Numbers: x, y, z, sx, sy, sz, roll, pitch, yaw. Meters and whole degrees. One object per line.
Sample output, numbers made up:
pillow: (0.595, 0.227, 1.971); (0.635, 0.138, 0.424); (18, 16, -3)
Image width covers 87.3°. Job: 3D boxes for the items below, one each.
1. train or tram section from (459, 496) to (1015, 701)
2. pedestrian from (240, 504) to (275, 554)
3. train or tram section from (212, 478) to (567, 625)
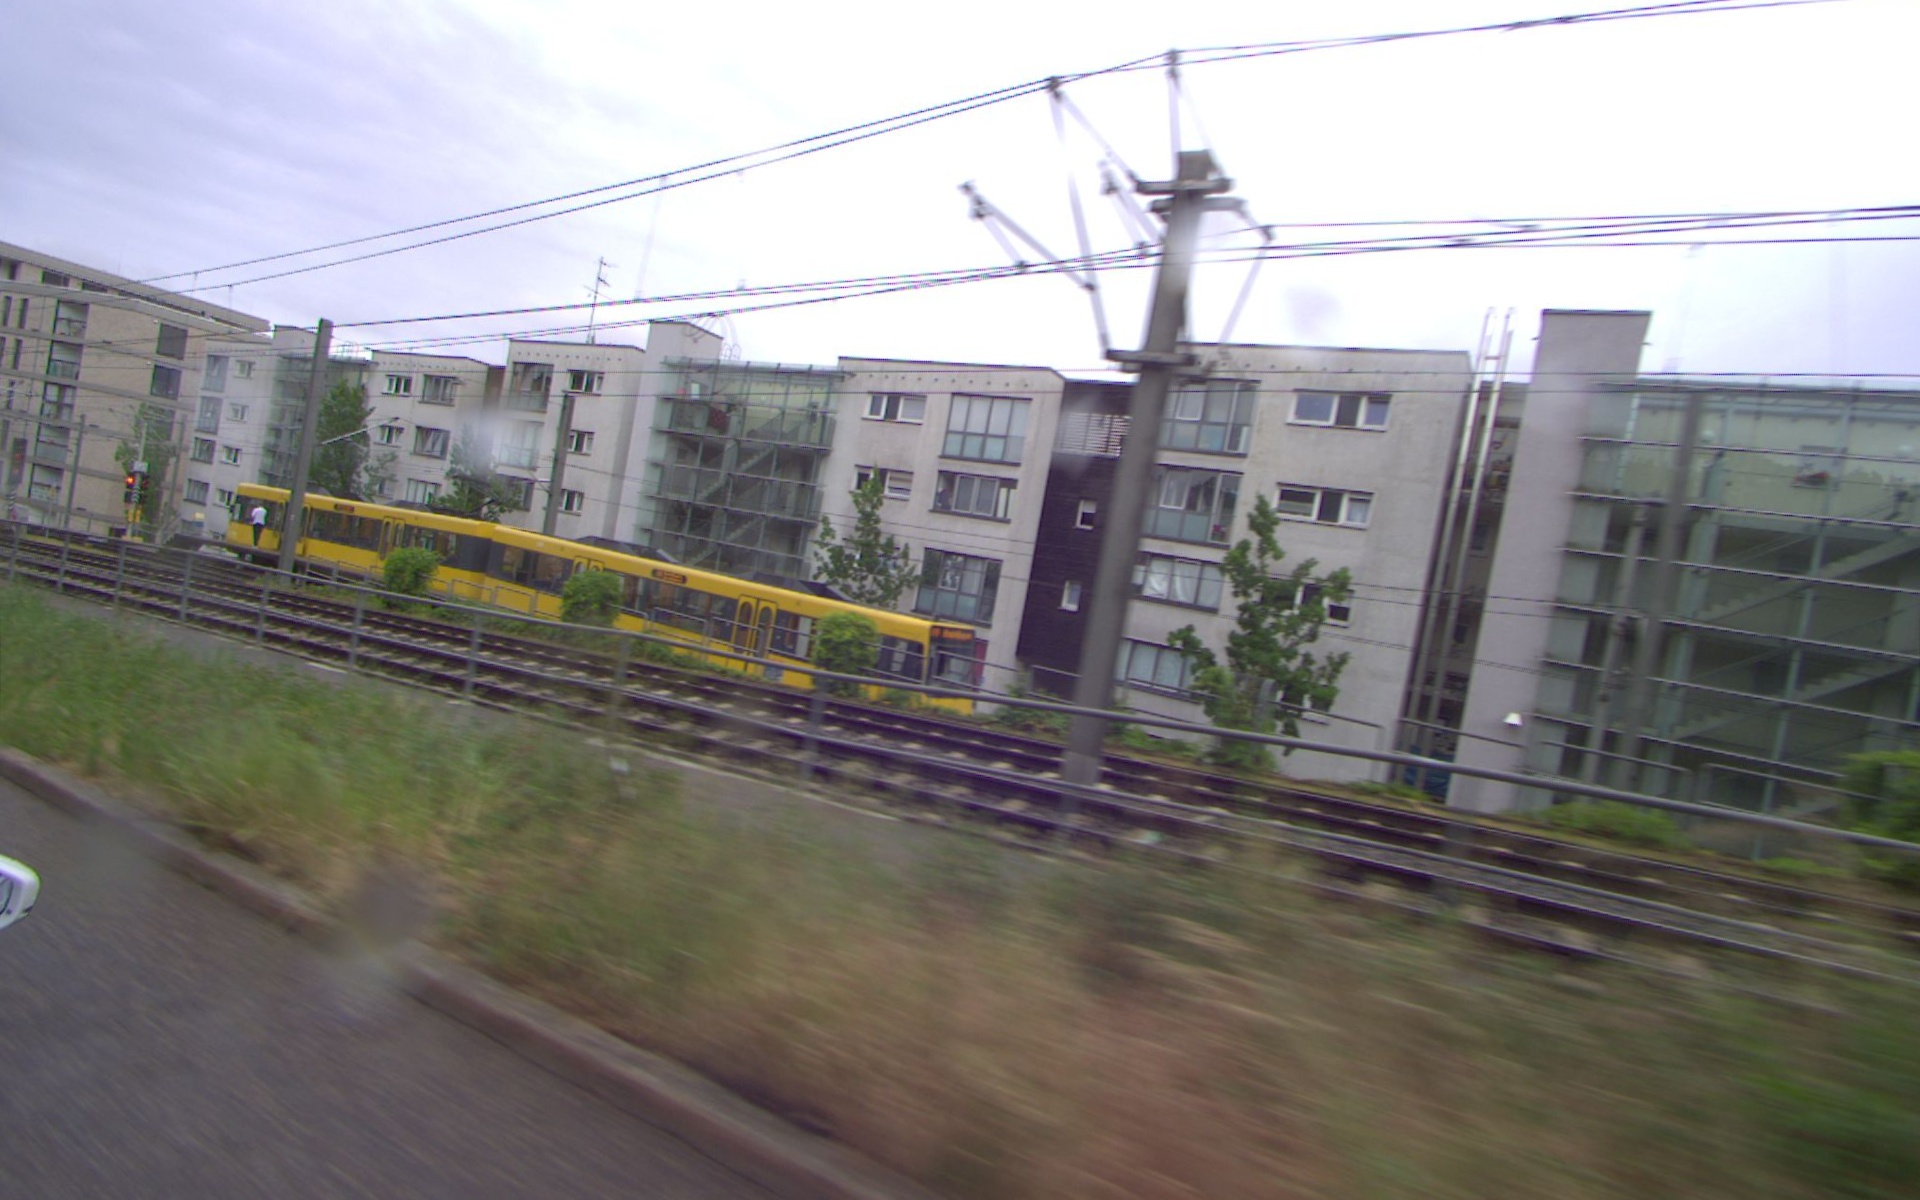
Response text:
train or tram section: (-7.655, -0.395, 30.215); (18.960, 3.993, 3.337); (7, -1, 31)
pedestrian: (-28.150, -2.848, 40.313); (0.804, 1.902, 0.723); (6, -1, 32)
train or tram section: (-23.138, -2.171, 39.766); (18.499, 3.993, 3.337); (7, -1, 31)
